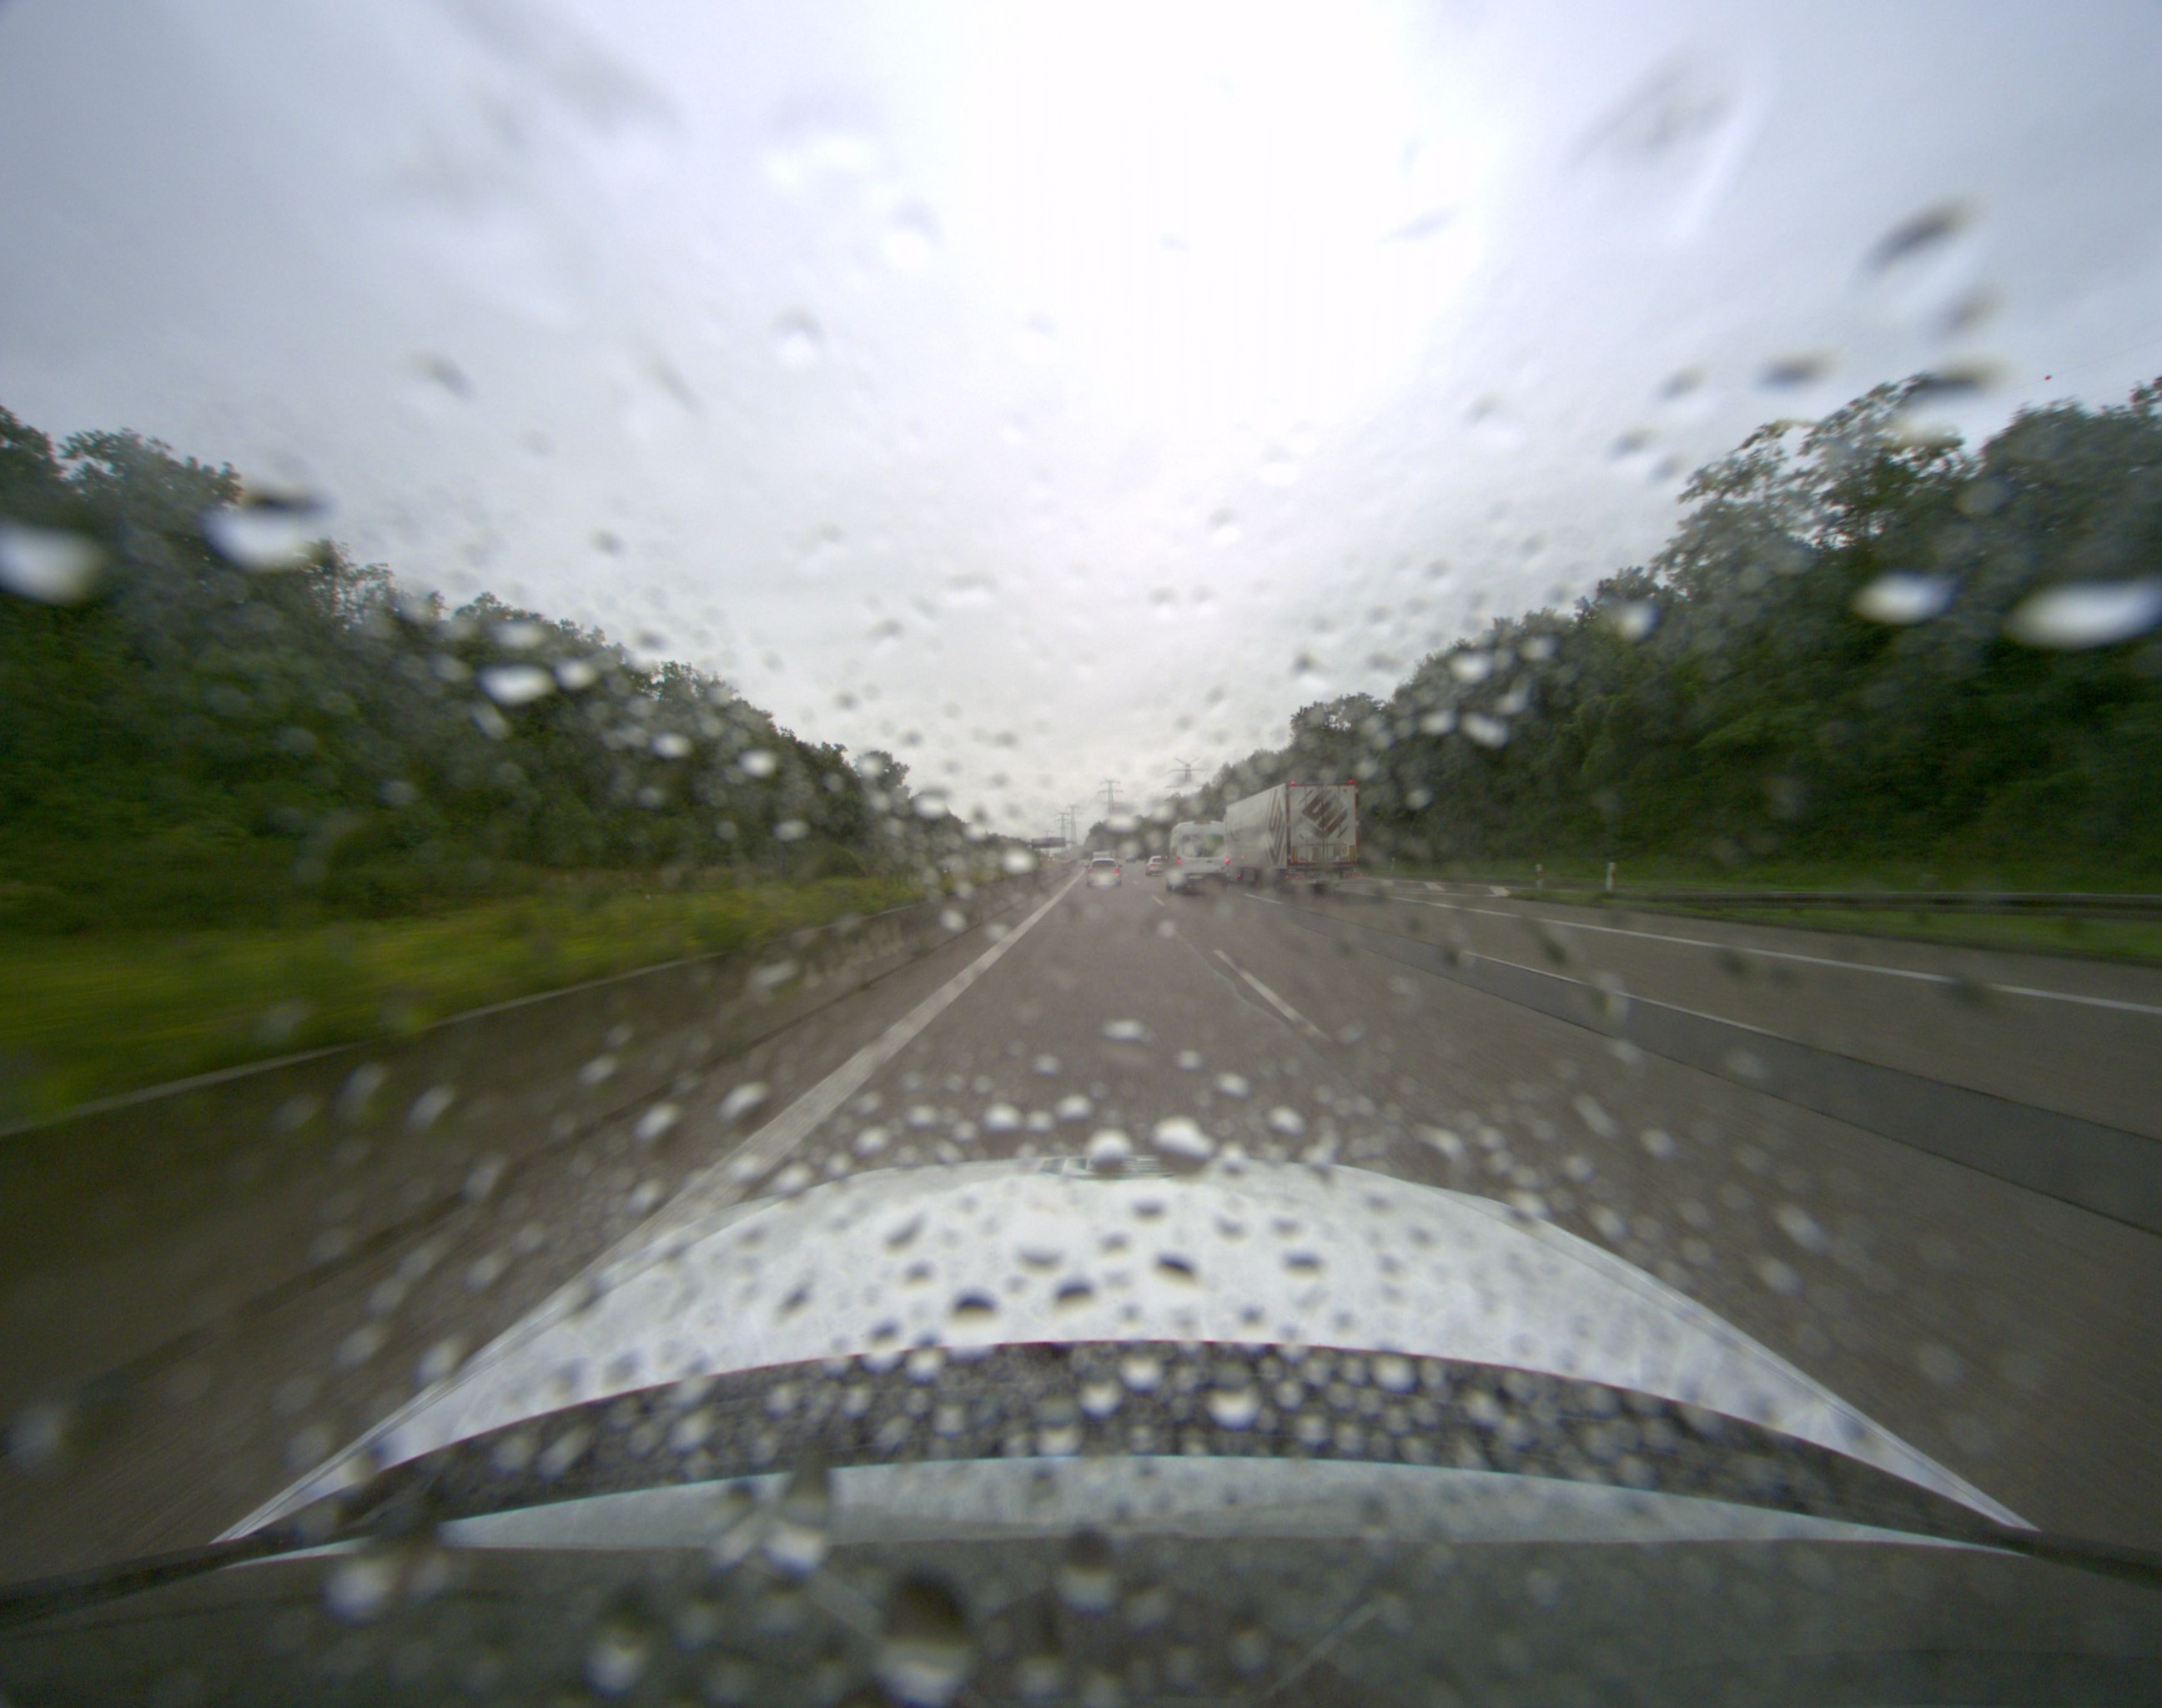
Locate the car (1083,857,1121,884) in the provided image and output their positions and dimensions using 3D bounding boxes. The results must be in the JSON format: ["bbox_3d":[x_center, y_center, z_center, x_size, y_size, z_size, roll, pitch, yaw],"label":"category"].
[{"bbox_3d":[1.104,0.809,41.978,1.859,1.288,4.002,0,0,2],"label":"car"}]

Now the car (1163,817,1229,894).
[{"bbox_3d":[4.477,0.060,32.324,1.988,2.864,3.998,0,0,-1],"label":"car"}]

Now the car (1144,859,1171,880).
[{"bbox_3d":[5.486,1.091,58.309,1.847,1.422,4.007,-2,0,6],"label":"car"}]

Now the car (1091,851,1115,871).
[{"bbox_3d":[1.988,0.614,71.752,1.837,1.772,4.006,0,0,5],"label":"car"}]

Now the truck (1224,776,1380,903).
[{"bbox_3d":[8.942,-0.415,35.270,3.589,4.332,13.207,-2,-1,2],"label":"truck"}]

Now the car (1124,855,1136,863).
[{"bbox_3d":[9.524,0.988,157.636,1.984,1.486,4.005,-4,-1,5],"label":"car"}]

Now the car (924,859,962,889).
[{"bbox_3d":[-10.231,1.442,60.704,1.988,2.013,4.749,-2,0,-1],"label":"car"}]
